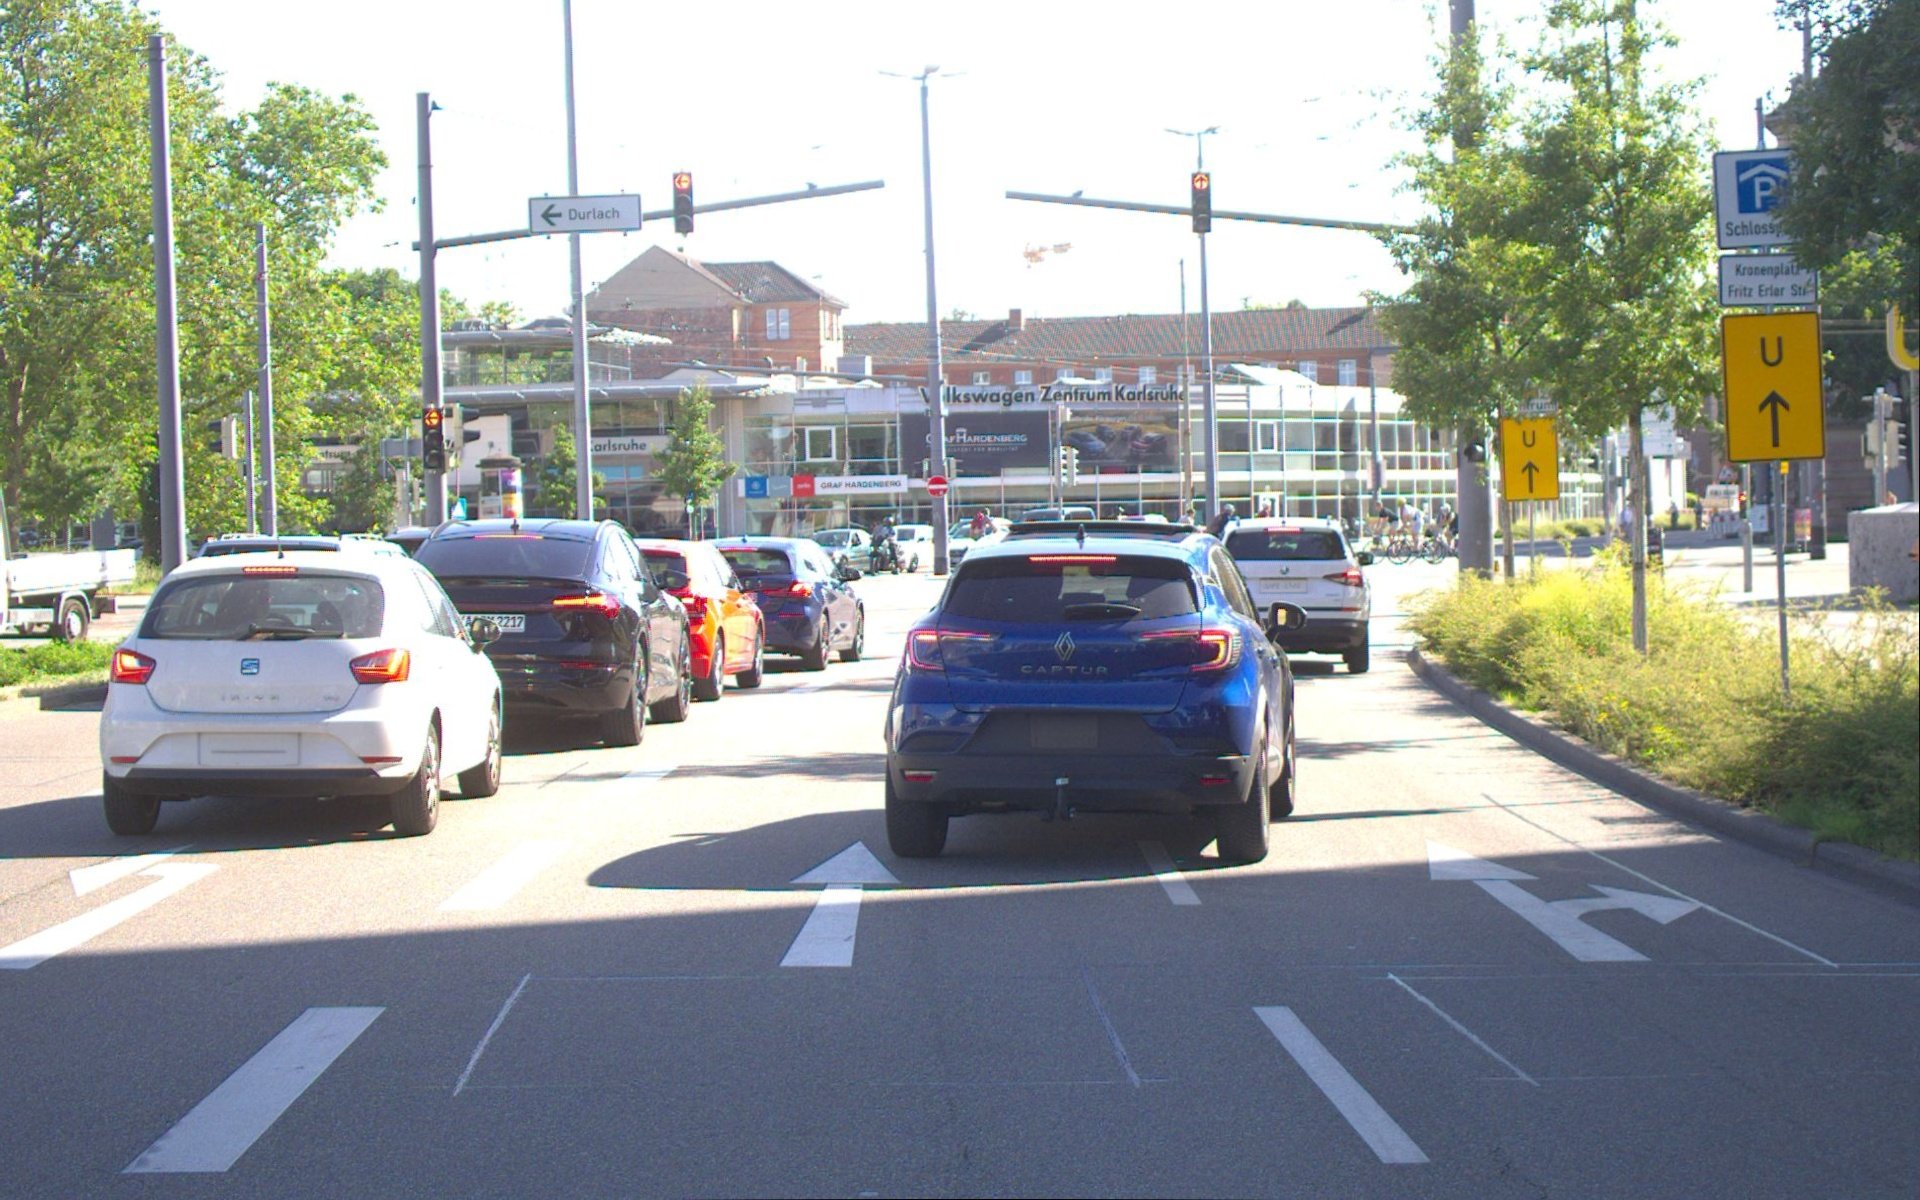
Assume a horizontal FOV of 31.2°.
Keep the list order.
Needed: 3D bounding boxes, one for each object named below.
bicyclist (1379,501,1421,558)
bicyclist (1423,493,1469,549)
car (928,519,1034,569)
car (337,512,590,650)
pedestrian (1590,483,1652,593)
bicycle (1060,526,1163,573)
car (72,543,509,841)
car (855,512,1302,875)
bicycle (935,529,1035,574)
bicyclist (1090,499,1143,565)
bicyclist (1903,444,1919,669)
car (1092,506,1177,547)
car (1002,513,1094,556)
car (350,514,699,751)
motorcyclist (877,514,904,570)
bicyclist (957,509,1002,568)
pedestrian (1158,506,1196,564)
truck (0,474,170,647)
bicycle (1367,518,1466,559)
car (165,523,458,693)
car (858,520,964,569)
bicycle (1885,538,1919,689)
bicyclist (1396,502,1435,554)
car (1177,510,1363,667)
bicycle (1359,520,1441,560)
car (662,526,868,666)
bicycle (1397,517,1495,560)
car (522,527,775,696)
[{"bbox_3d":[12.618,-2.022,98.568,0.985,1.598,0.759,-1,1,-11],"label":"bicyclist"},{"bbox_3d":[14.146,-2.296,100.012,1.062,1.578,0.948,-1,3,-12],"label":"bicyclist"},{"bbox_3d":[0.664,-1.715,104.059,1.727,1.437,4.179,0,1,23],"label":"car"},{"bbox_3d":[-5.524,-0.247,38.735,1.725,1.437,3.909,1,1,9],"label":"car"},{"bbox_3d":[10.489,-0.977,54.538,0.595,1.717,0.868,-1,-1,41],"label":"pedestrian"},{"bbox_3d":[4.132,-1.383,93.920,2.645,1.184,0.948,-2,4,-20],"label":"bicycle"},{"bbox_3d":[-3.522,0.421,18.691,1.691,1.431,3.737,0,1,-1],"label":"car"},{"bbox_3d":[0.712,0.382,17.412,1.877,1.612,3.796,1,1,8],"label":"car"},{"bbox_3d":[0.698,-1.355,95.963,2.645,1.184,0.948,-1,3,-12],"label":"bicycle"},{"bbox_3d":[4.275,-1.864,93.961,1.183,1.770,0.948,-2,4,-20],"label":"bicyclist"},{"bbox_3d":[7.841,-0.347,26.725,0.719,1.756,0.978,-1,2,0],"label":"bicyclist"},{"bbox_3d":[6.344,-2.654,124.620,1.727,1.437,4.179,2,2,23],"label":"car"},{"bbox_3d":[3.035,-2.253,117.989,1.727,1.437,4.179,2,2,23],"label":"car"},{"bbox_3d":[-3.153,0.174,25.752,1.984,1.618,4.378,0,1,1],"label":"car"},{"bbox_3d":[-2.017,-1.679,99.678,0.550,1.615,0.744,-1,1,19],"label":"motorcyclist"},{"bbox_3d":[0.549,-1.720,95.896,1.062,1.578,0.948,-1,3,-12],"label":"bicyclist"},{"bbox_3d":[6.252,-1.882,99.226,0.703,1.605,0.850,3,5,45],"label":"pedestrian"},{"bbox_3d":[-13.596,-0.529,46.683,2.216,2.305,6.877,-1,1,19],"label":"truck"},{"bbox_3d":[12.888,-1.736,97.078,2.643,1.091,0.969,-1,1,0],"label":"bicycle"},{"bbox_3d":[-5.867,0.031,31.526,1.725,1.437,3.798,-1,1,4],"label":"car"},{"bbox_3d":[-1.494,-1.729,106.527,1.727,1.437,4.179,0,1,23],"label":"car"},{"bbox_3d":[7.852,0.105,26.773,0.746,1.161,1.870,-1,2,-1],"label":"bicycle"},{"bbox_3d":[12.864,-2.020,97.075,0.962,1.444,0.969,-1,1,0],"label":"bicyclist"},{"bbox_3d":[3.419,-0.153,37.385,1.877,1.612,3.624,0,1,7],"label":"car"},{"bbox_3d":[12.614,-1.723,98.574,2.177,1.091,0.759,-1,1,-11],"label":"bicycle"},{"bbox_3d":[-2.121,-0.084,38.378,1.725,1.437,3.798,1,1,5],"label":"car"},{"bbox_3d":[14.153,-1.791,100.123,2.645,1.184,0.948,-1,3,-12],"label":"bicycle"},{"bbox_3d":[-2.827,0.061,31.911,1.672,1.437,3.721,1,1,5],"label":"car"}]
